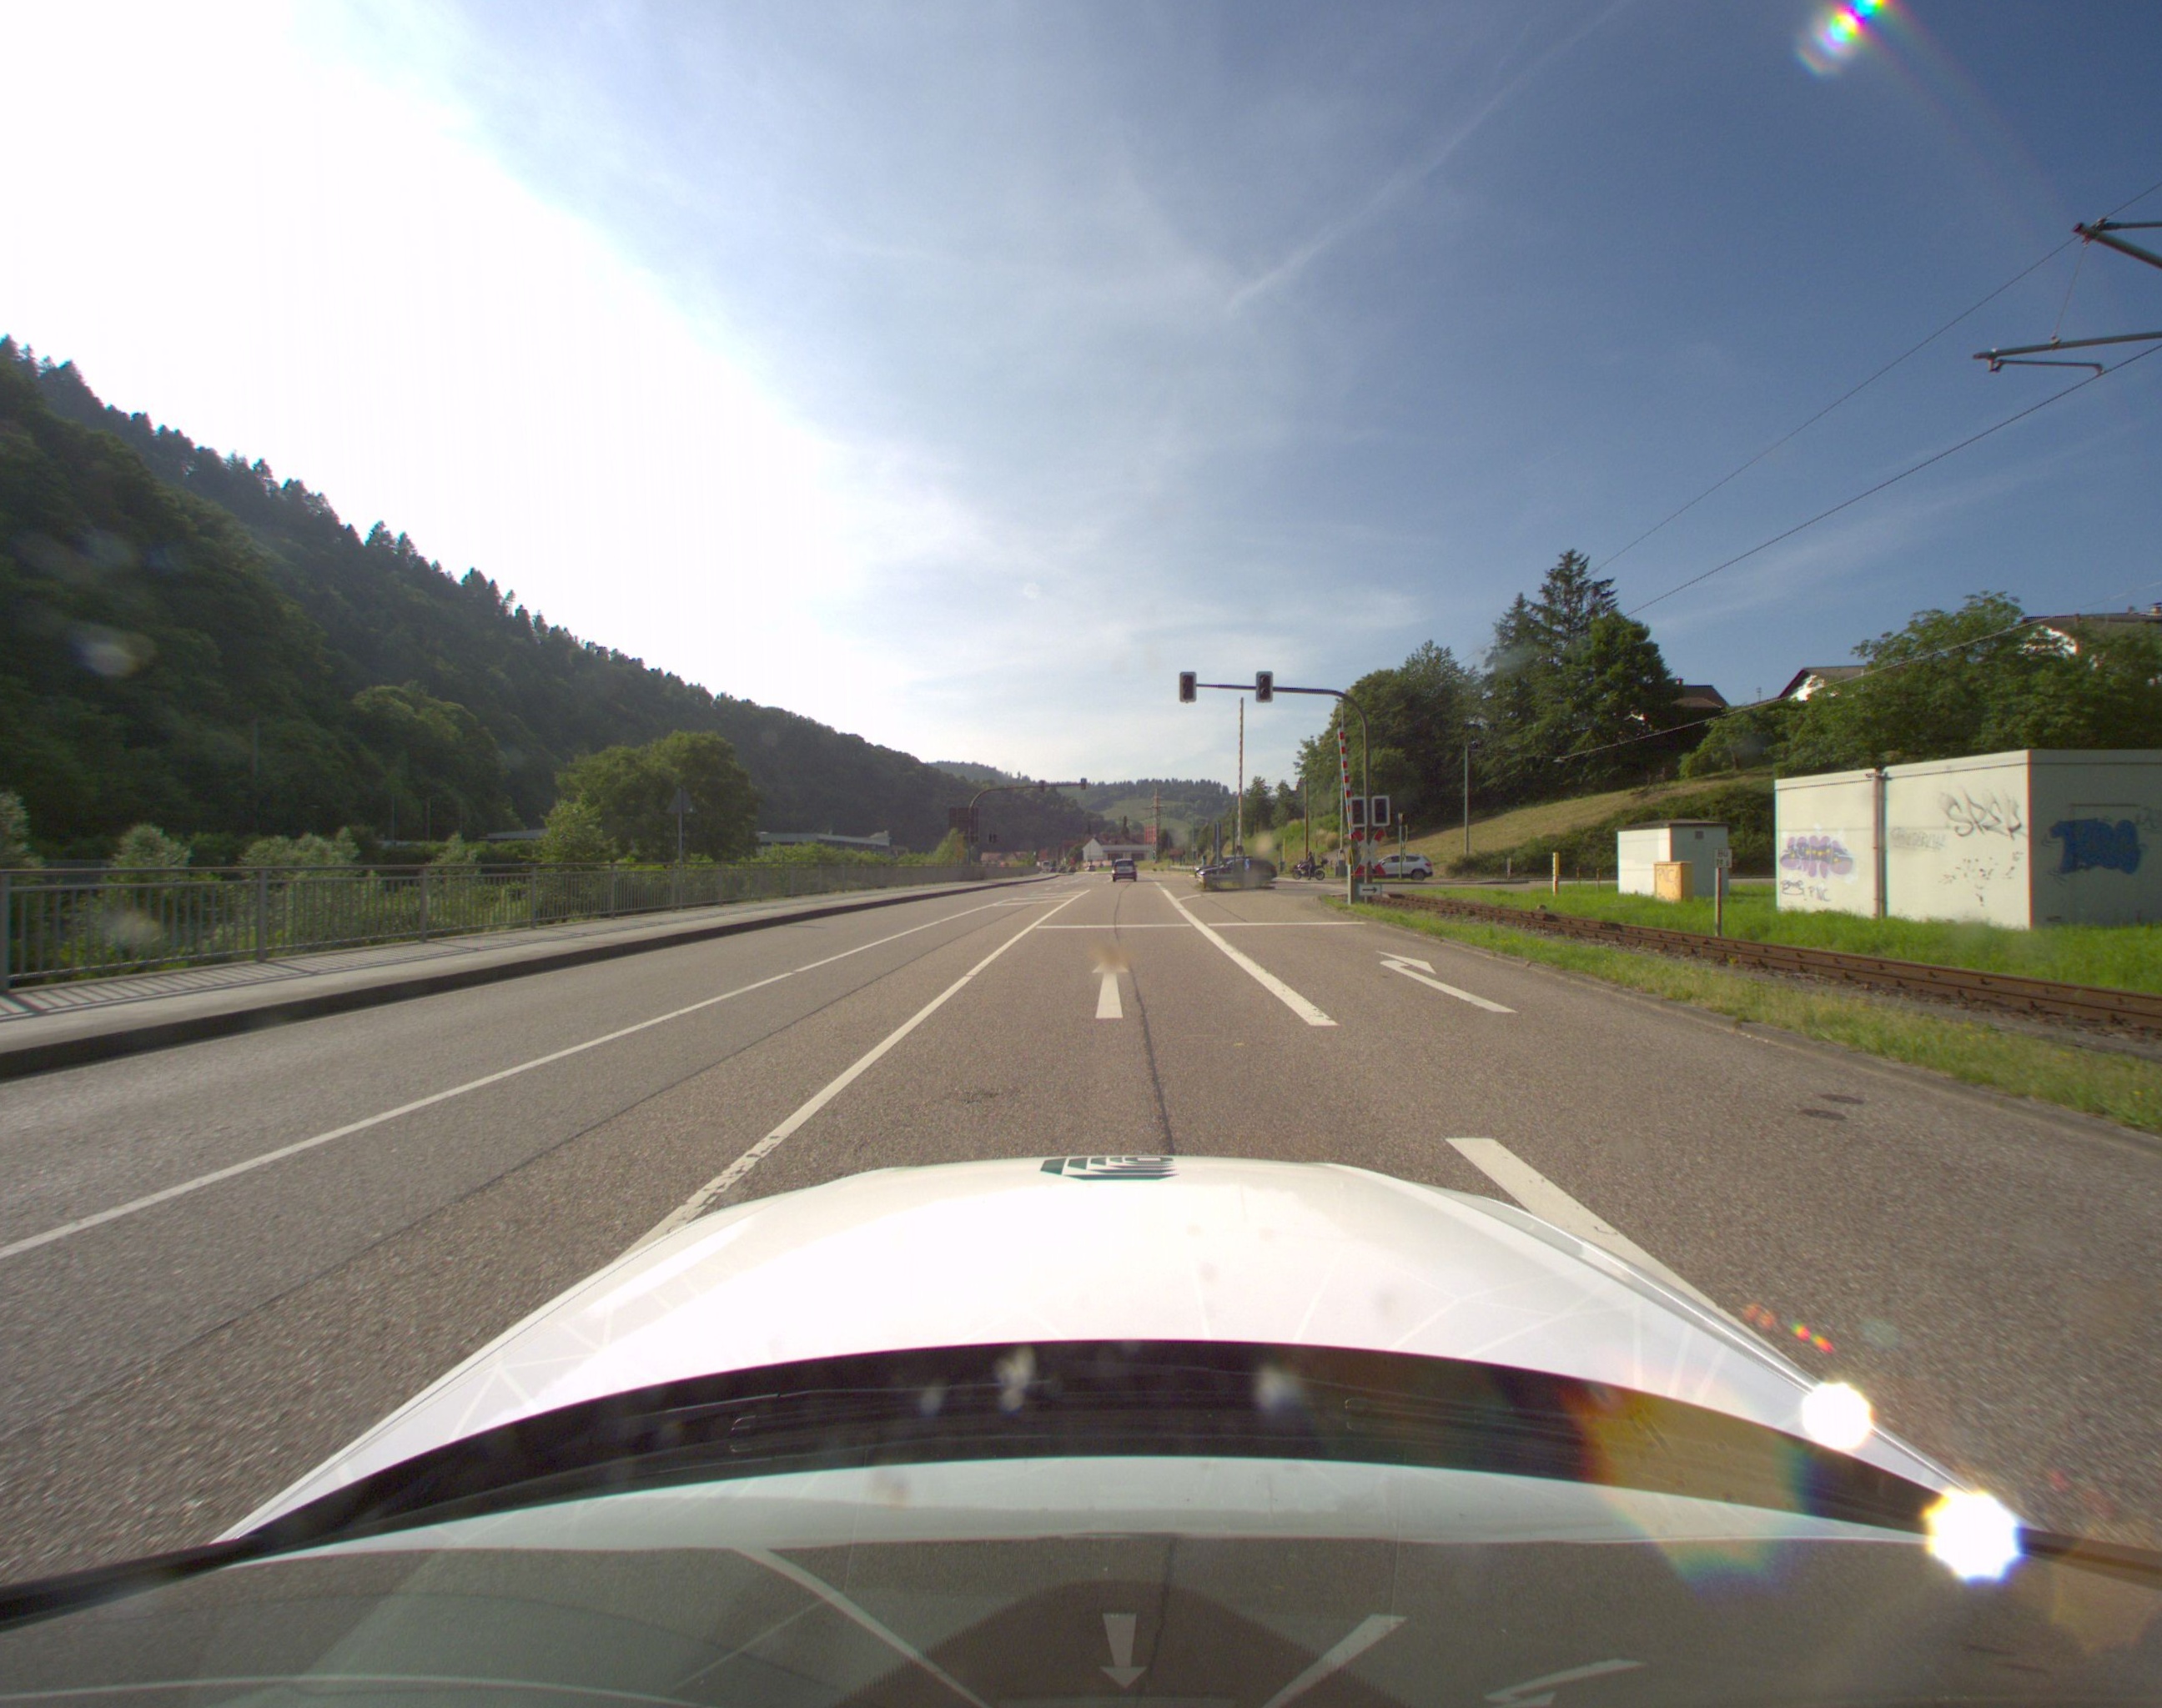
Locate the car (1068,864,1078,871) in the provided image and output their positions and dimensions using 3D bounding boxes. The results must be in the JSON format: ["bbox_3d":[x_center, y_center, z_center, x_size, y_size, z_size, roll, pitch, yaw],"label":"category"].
[{"bbox_3d":[-1.724,2.916,178.905,1.456,1.435,2.920,0,0,-16],"label":"car"}]

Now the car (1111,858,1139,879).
[{"bbox_3d":[3.309,1.098,60.408,1.851,1.544,4.380,0,-1,6],"label":"car"}]

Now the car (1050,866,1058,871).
[{"bbox_3d":[-7.013,3.789,211.159,1.456,1.435,2.920,0,0,-16],"label":"car"}]

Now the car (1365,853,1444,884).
[{"bbox_3d":[18.456,0.817,46.655,4.081,1.687,1.842,0,0,16],"label":"car"}]

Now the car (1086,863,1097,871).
[{"bbox_3d":[2.115,2.630,163.220,1.456,1.435,2.921,0,0,-15],"label":"car"}]

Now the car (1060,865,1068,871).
[{"bbox_3d":[-4.065,3.316,193.812,1.235,1.435,2.626,-2,0,-16],"label":"car"}]

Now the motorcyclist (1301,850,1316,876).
[{"bbox_3d":[14.477,0.566,51.833,0.899,1.597,0.769,0,0,20],"label":"motorcyclist"}]

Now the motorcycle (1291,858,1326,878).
[{"bbox_3d":[14.469,0.877,51.837,2.075,1.254,0.803,0,0,21],"label":"motorcycle"}]

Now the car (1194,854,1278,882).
[{"bbox_3d":[9.118,0.840,48.130,4.703,1.470,1.844,-2,-1,5],"label":"car"}]
